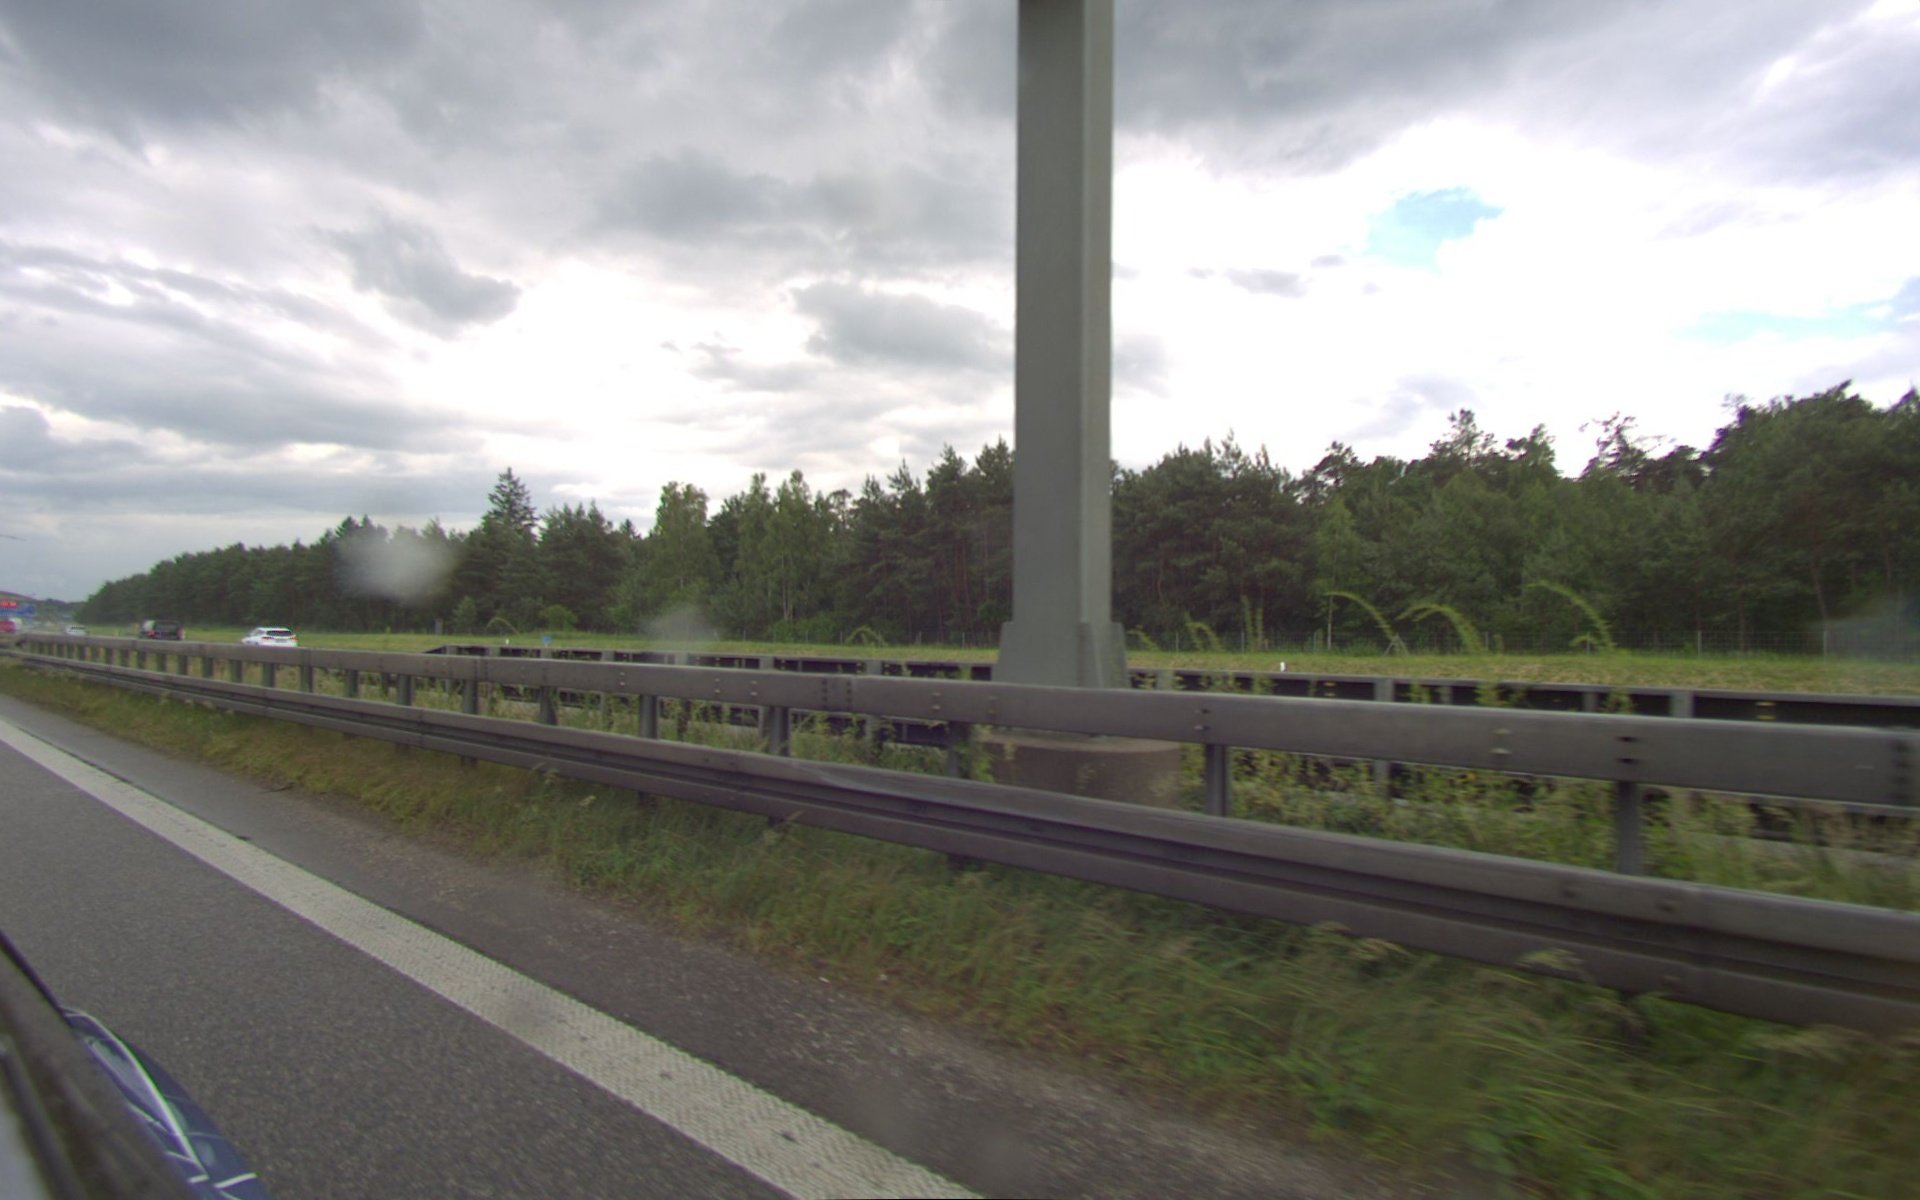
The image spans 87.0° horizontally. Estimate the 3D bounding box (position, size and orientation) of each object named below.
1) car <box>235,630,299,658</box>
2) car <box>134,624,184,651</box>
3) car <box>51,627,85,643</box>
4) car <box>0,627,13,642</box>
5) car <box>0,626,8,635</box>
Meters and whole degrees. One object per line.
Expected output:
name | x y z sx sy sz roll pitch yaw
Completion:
car | -38.103 2.410 55.624 4.318 1.456 1.830 -1 -3 40
car | -59.036 2.762 74.532 4.722 1.931 1.972 -1 -4 41
car | -89.828 3.551 101.930 4.607 1.512 1.972 -1 -4 42
car | -108.048 3.904 113.766 4.607 1.621 1.972 -1 -1 42
car | -163.562 5.212 172.128 3.997 1.483 1.855 -1 -3 41
